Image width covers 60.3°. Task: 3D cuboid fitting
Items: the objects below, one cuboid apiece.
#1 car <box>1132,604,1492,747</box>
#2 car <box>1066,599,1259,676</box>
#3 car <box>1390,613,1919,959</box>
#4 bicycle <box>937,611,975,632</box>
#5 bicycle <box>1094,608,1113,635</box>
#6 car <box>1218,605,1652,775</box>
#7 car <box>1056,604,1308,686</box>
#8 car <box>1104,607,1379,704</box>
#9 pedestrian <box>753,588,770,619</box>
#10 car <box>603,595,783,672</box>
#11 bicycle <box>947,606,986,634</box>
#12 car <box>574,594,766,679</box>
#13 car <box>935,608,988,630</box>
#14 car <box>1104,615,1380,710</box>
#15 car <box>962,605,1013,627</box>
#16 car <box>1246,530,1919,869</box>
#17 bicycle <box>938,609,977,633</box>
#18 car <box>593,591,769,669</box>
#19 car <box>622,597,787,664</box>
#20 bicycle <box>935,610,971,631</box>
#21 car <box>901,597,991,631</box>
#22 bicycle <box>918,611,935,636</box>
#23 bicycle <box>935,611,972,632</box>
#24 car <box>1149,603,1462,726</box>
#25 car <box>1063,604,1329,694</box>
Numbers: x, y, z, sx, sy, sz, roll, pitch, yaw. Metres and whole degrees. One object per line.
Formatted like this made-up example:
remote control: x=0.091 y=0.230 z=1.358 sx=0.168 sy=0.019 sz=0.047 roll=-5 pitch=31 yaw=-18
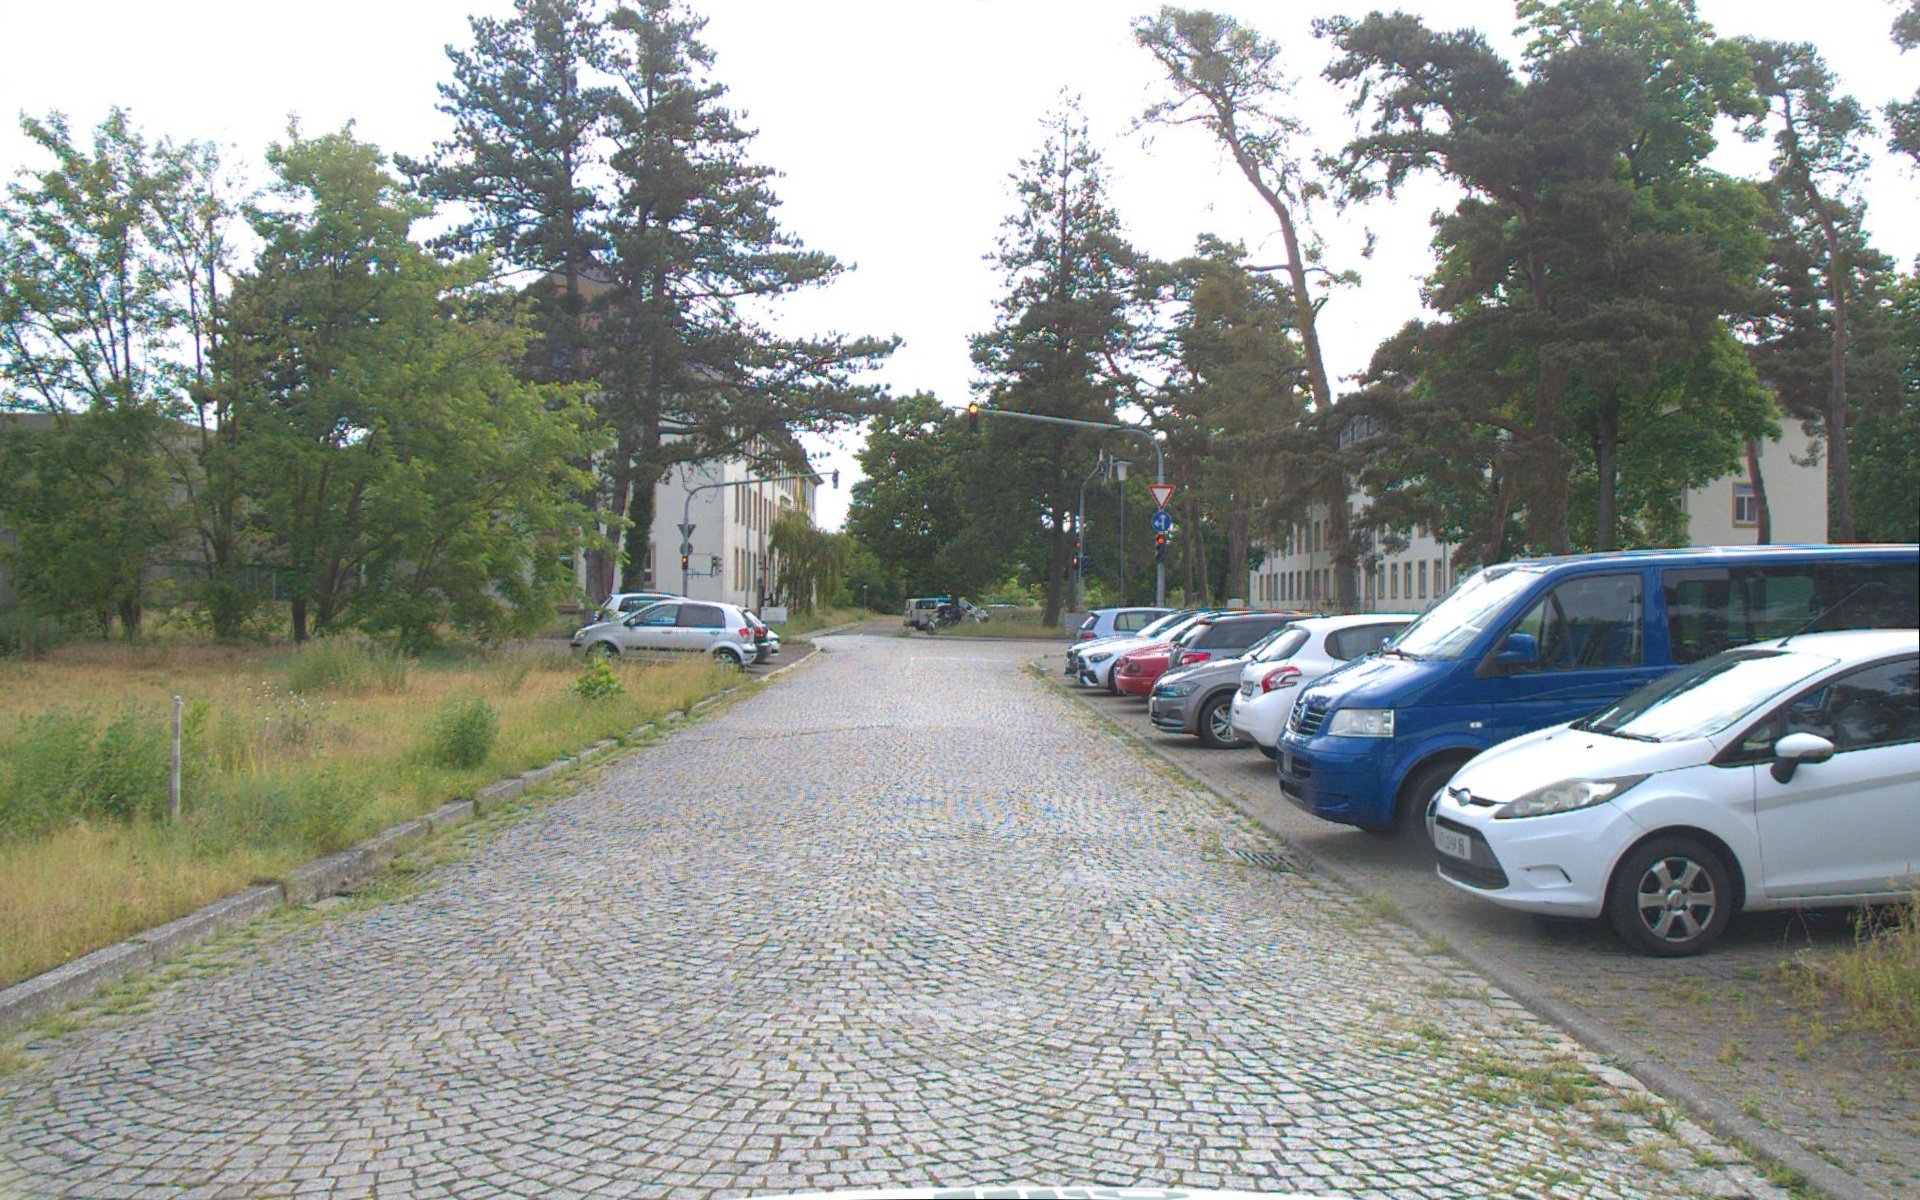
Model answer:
car: x=4.038 y=0.840 z=19.379 sx=3.785 sy=1.498 sz=1.757 roll=-1 pitch=0 yaw=-3
car: x=4.206 y=0.770 z=34.746 sx=3.846 sy=1.503 sz=1.642 roll=-1 pitch=0 yaw=0
car: x=4.386 y=0.851 z=8.581 sx=3.785 sy=1.498 sz=1.840 roll=-1 pitch=0 yaw=-3
bicycle: x=-0.209 y=1.124 z=86.949 sx=1.935 sy=1.088 sz=0.582 roll=1 pitch=0 yaw=-31
bicycle: x=6.205 y=0.934 z=71.530 sx=0.574 sy=1.125 sz=1.961 roll=0 pitch=0 yaw=-1
car: x=4.644 y=0.849 z=16.530 sx=3.785 sy=1.498 sz=1.757 roll=-1 pitch=0 yaw=-3
car: x=4.279 y=0.849 z=32.293 sx=4.588 sy=1.441 sz=1.870 roll=-1 pitch=0 yaw=-4
car: x=4.586 y=0.885 z=27.347 sx=4.176 sy=1.441 sz=1.870 roll=-1 pitch=0 yaw=-2
pedestrian: x=-11.878 y=0.219 z=98.941 sx=0.766 sy=1.870 sz=0.732 roll=1 pitch=-1 yaw=-33
car: x=-5.808 y=0.717 z=36.292 sx=3.672 sy=1.453 sz=1.581 roll=3 pitch=0 yaw=-4
bicycle: x=0.319 y=1.013 z=84.960 sx=1.918 sy=1.408 sz=0.587 roll=1 pitch=0 yaw=-8
car: x=-5.852 y=0.732 z=33.692 sx=3.630 sy=1.505 sz=1.581 roll=3 pitch=0 yaw=-4
car: x=0.077 y=1.131 z=98.211 sx=2.948 sy=1.290 sz=1.533 roll=0 pitch=0 yaw=-7
car: x=4.173 y=0.914 z=24.857 sx=3.785 sy=1.258 sz=1.757 roll=-1 pitch=0 yaw=-3
car: x=1.736 y=1.014 z=105.497 sx=3.168 sy=1.441 sz=1.724 roll=0 pitch=0 yaw=-4
car: x=4.495 y=0.589 z=11.178 sx=4.711 sy=1.980 sz=2.002 roll=-1 pitch=0 yaw=-3
bicycle: x=-0.118 y=1.060 z=83.485 sx=1.918 sy=1.152 sz=0.587 roll=1 pitch=0 yaw=-8
car: x=-6.524 y=0.697 z=39.053 sx=3.870 sy=1.590 sz=1.649 roll=3 pitch=0 yaw=-4
car: x=-6.382 y=0.750 z=41.599 sx=3.868 sy=1.446 sz=1.649 roll=3 pitch=0 yaw=-2
bicycle: x=-0.364 y=1.125 z=90.632 sx=1.931 sy=1.088 sz=0.583 roll=1 pitch=0 yaw=-26
car: x=-0.860 y=0.857 z=101.554 sx=5.263 sy=1.958 sz=2.020 roll=-1 pitch=0 yaw=-10
bicycle: x=-1.628 y=1.134 z=80.251 sx=0.591 sy=1.152 sz=1.958 roll=1 pitch=0 yaw=-7
bicycle: x=-0.330 y=1.115 z=85.596 sx=1.935 sy=1.088 sz=0.582 roll=1 pitch=0 yaw=-31
car: x=4.571 y=0.832 z=22.235 sx=3.785 sy=1.498 sz=1.757 roll=-1 pitch=0 yaw=-3
car: x=4.175 y=0.838 z=29.606 sx=4.342 sy=1.441 sz=1.866 roll=-1 pitch=0 yaw=-10
